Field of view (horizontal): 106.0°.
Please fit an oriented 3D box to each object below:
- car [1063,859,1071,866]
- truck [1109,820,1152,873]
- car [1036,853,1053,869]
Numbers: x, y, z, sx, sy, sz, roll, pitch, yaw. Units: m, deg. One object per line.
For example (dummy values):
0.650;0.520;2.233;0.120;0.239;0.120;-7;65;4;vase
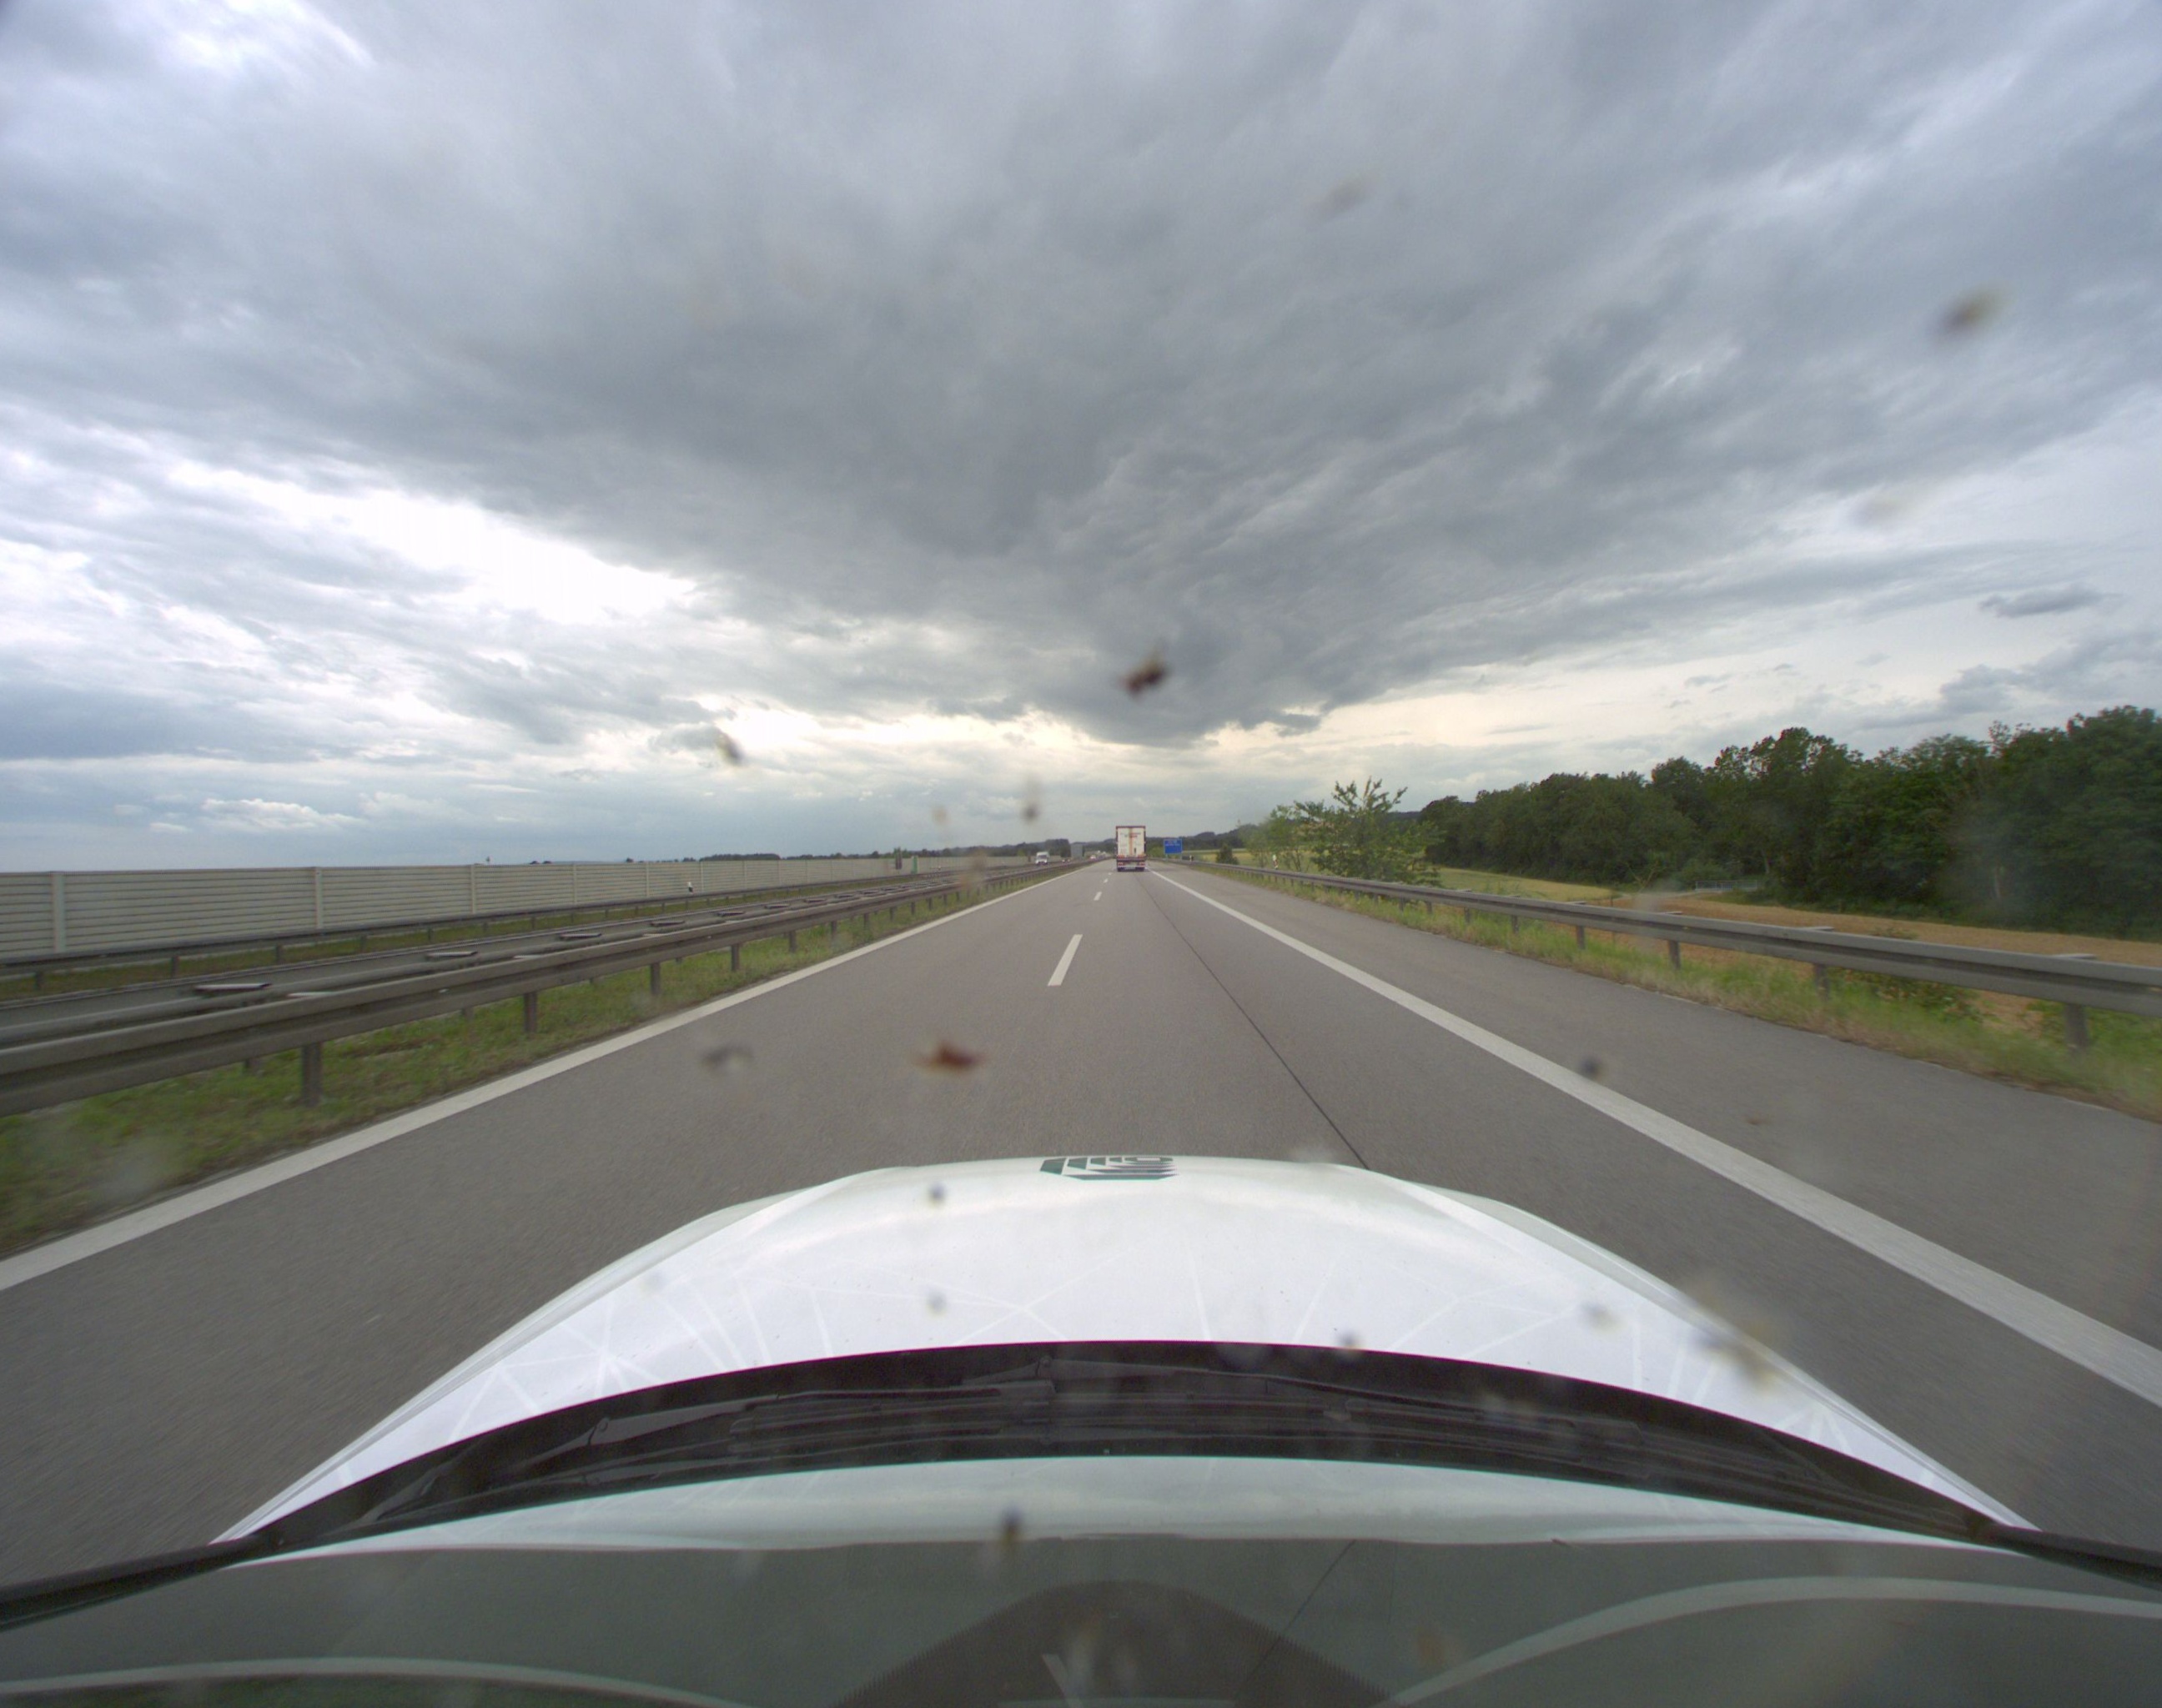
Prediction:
-3.322;2.039;196.521;1.664;1.386;4.002;-3;-1;2;car
4.578;-0.644;78.728;3.658;4.412;16.348;-2;0;2;truck
-6.201;1.206;139.518;2.062;2.602;6.292;-5;-1;2;car
